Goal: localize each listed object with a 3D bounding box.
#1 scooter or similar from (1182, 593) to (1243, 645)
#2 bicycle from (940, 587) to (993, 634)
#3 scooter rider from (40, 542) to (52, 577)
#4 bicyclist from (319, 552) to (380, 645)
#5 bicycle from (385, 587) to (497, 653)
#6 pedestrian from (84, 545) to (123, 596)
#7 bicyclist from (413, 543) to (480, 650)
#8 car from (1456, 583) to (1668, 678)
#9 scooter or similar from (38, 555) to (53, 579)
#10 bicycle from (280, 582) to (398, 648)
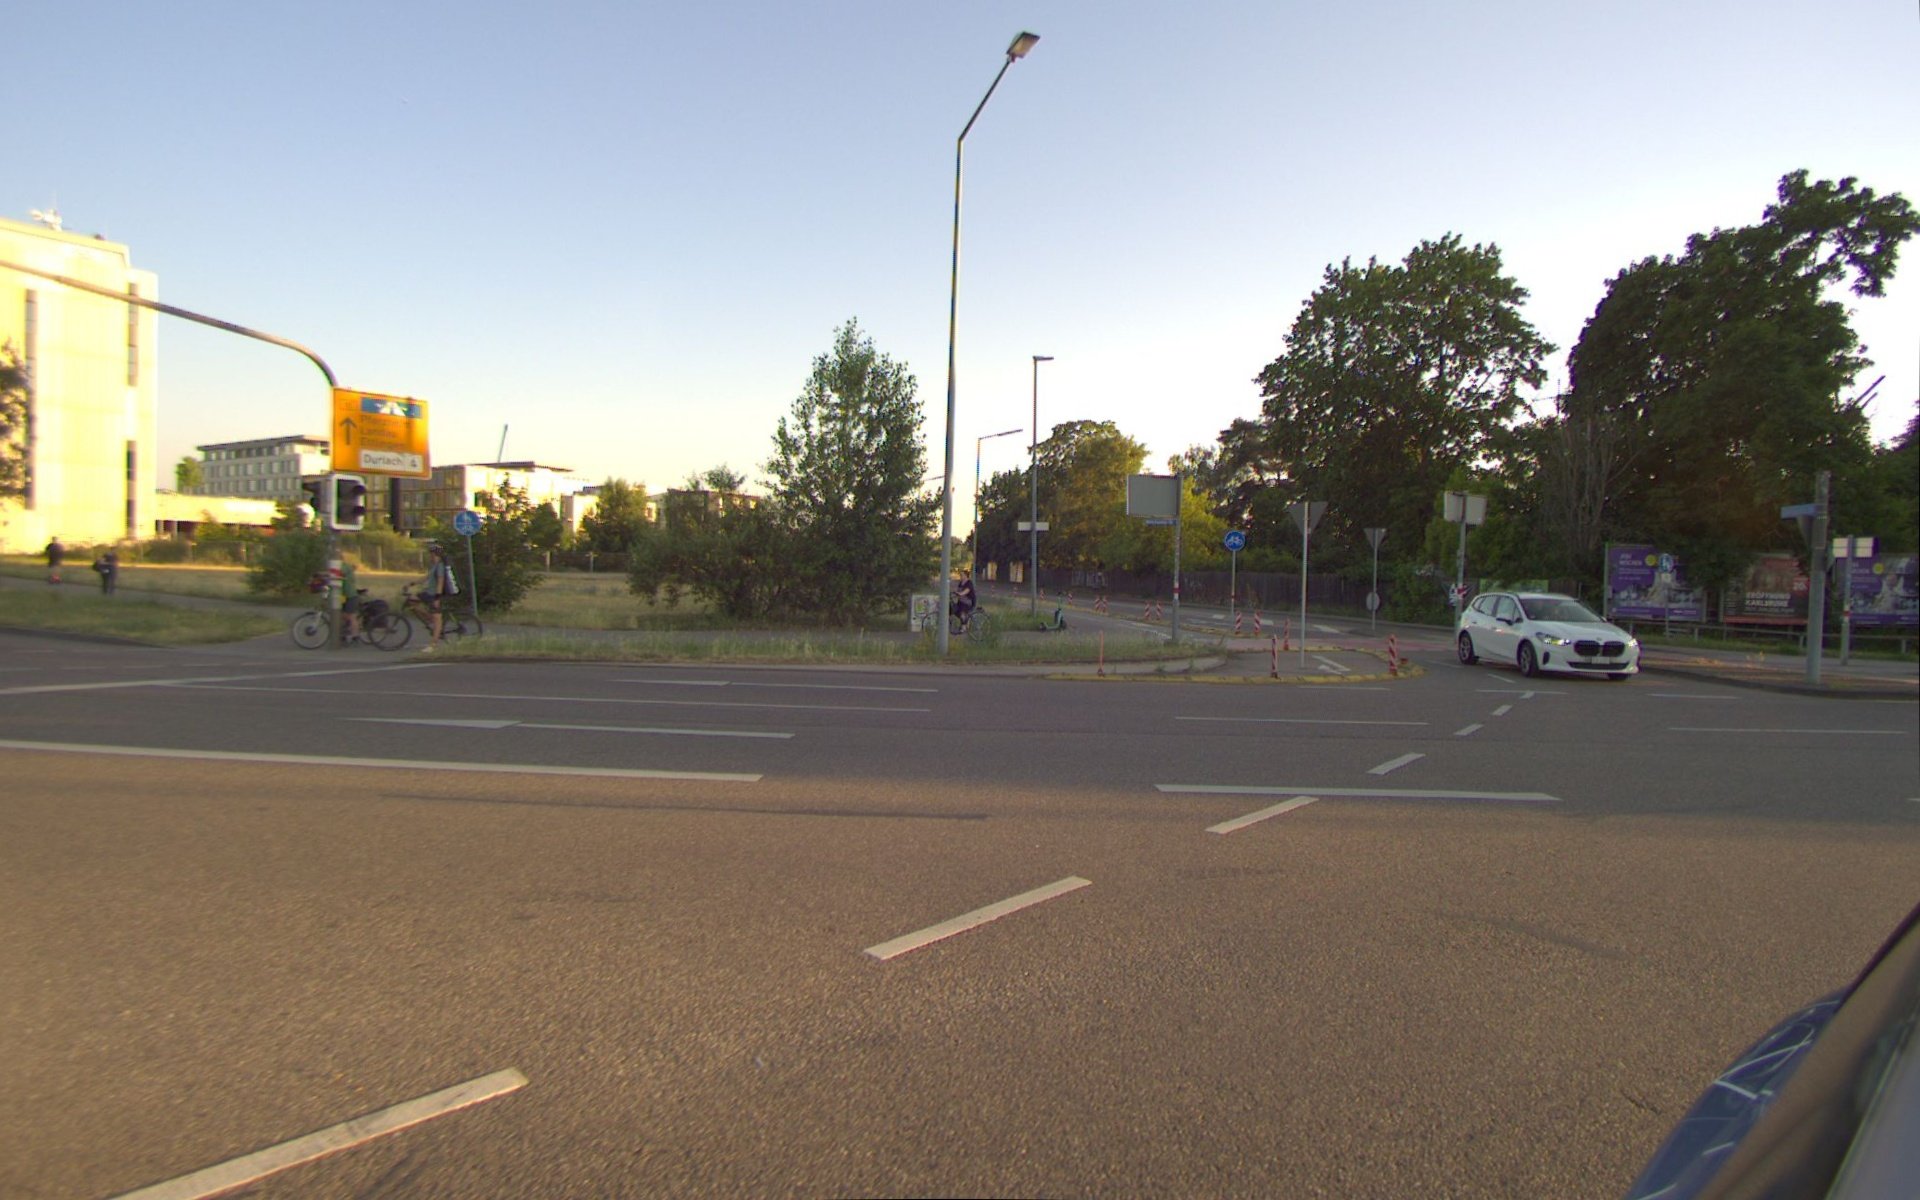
[{"bbox_3d":[5.953,0.454,23.819,1.354,1.177,0.443,1,1,-22],"label":"scooter or similar"},{"bbox_3d":[0.166,0.261,24.678,1.346,1.102,0.280,1,1,-34],"label":"bicycle"},{"bbox_3d":[-35.946,-1.586,39.798,0.404,1.356,0.261,3,1,36],"label":"scooter rider"},{"bbox_3d":[-11.622,-0.048,19.290,0.636,1.722,0.762,2,4,30],"label":"bicyclist"},{"bbox_3d":[-9.591,0.333,18.779,0.453,1.098,1.908,2,3,30],"label":"bicycle"},{"bbox_3d":[-26.865,-0.931,31.744,0.563,1.569,0.787,2,1,33],"label":"pedestrian"},{"bbox_3d":[-9.554,-0.091,18.835,0.636,1.920,0.901,2,3,30],"label":"bicyclist"},{"bbox_3d":[11.598,0.502,19.873,1.857,1.577,4.092,2,1,4],"label":"car"},{"bbox_3d":[-35.983,-1.313,39.813,1.033,0.925,0.244,3,1,37],"label":"scooter or similar"},{"bbox_3d":[-11.705,0.262,19.153,0.453,1.098,1.908,2,4,30],"label":"bicycle"}]
